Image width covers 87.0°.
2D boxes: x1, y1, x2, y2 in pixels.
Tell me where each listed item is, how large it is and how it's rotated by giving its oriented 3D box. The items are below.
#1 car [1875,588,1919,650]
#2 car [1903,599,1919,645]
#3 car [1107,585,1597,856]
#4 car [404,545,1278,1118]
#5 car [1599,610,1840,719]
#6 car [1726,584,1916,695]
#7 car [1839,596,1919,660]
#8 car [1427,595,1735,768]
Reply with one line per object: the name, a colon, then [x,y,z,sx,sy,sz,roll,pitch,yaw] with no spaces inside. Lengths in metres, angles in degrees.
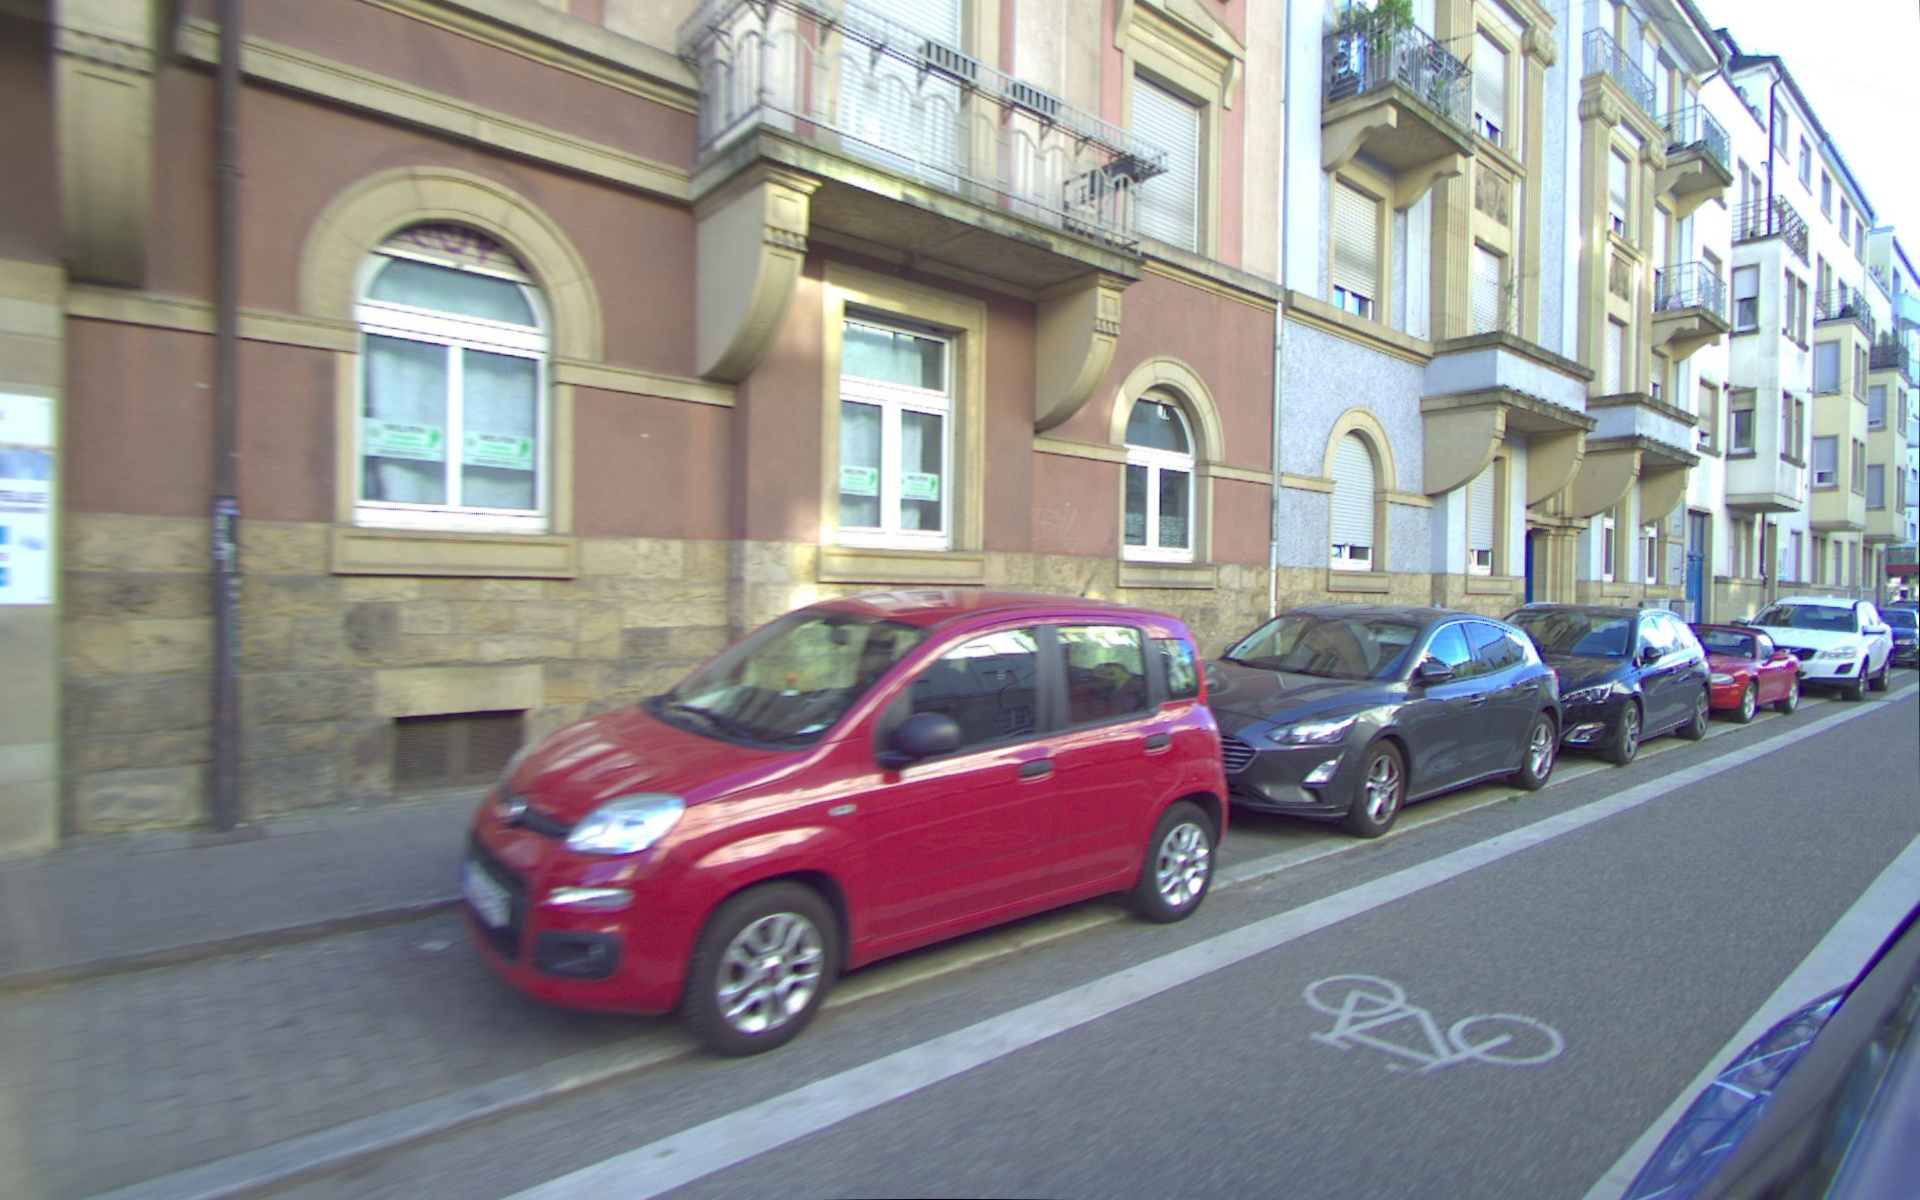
car: [27.960,0.531,29.054,4.479,1.686,1.863,0,1,-39]
car: [32.626,0.714,33.202,4.625,1.474,1.863,0,1,-39]
car: [3.236,0.676,7.856,4.395,1.532,1.658,0,1,-40]
car: [-0.349,0.627,4.693,3.662,1.614,1.757,0,1,-39]
car: [10.948,0.811,14.484,4.422,1.264,1.659,0,1,-38]
car: [15.285,0.592,17.886,4.425,1.712,1.847,0,1,-40]
car: [23.387,0.649,25.270,3.964,1.460,1.739,0,1,-43]
car: [6.908,0.711,11.048,4.396,1.502,1.657,0,1,-42]
